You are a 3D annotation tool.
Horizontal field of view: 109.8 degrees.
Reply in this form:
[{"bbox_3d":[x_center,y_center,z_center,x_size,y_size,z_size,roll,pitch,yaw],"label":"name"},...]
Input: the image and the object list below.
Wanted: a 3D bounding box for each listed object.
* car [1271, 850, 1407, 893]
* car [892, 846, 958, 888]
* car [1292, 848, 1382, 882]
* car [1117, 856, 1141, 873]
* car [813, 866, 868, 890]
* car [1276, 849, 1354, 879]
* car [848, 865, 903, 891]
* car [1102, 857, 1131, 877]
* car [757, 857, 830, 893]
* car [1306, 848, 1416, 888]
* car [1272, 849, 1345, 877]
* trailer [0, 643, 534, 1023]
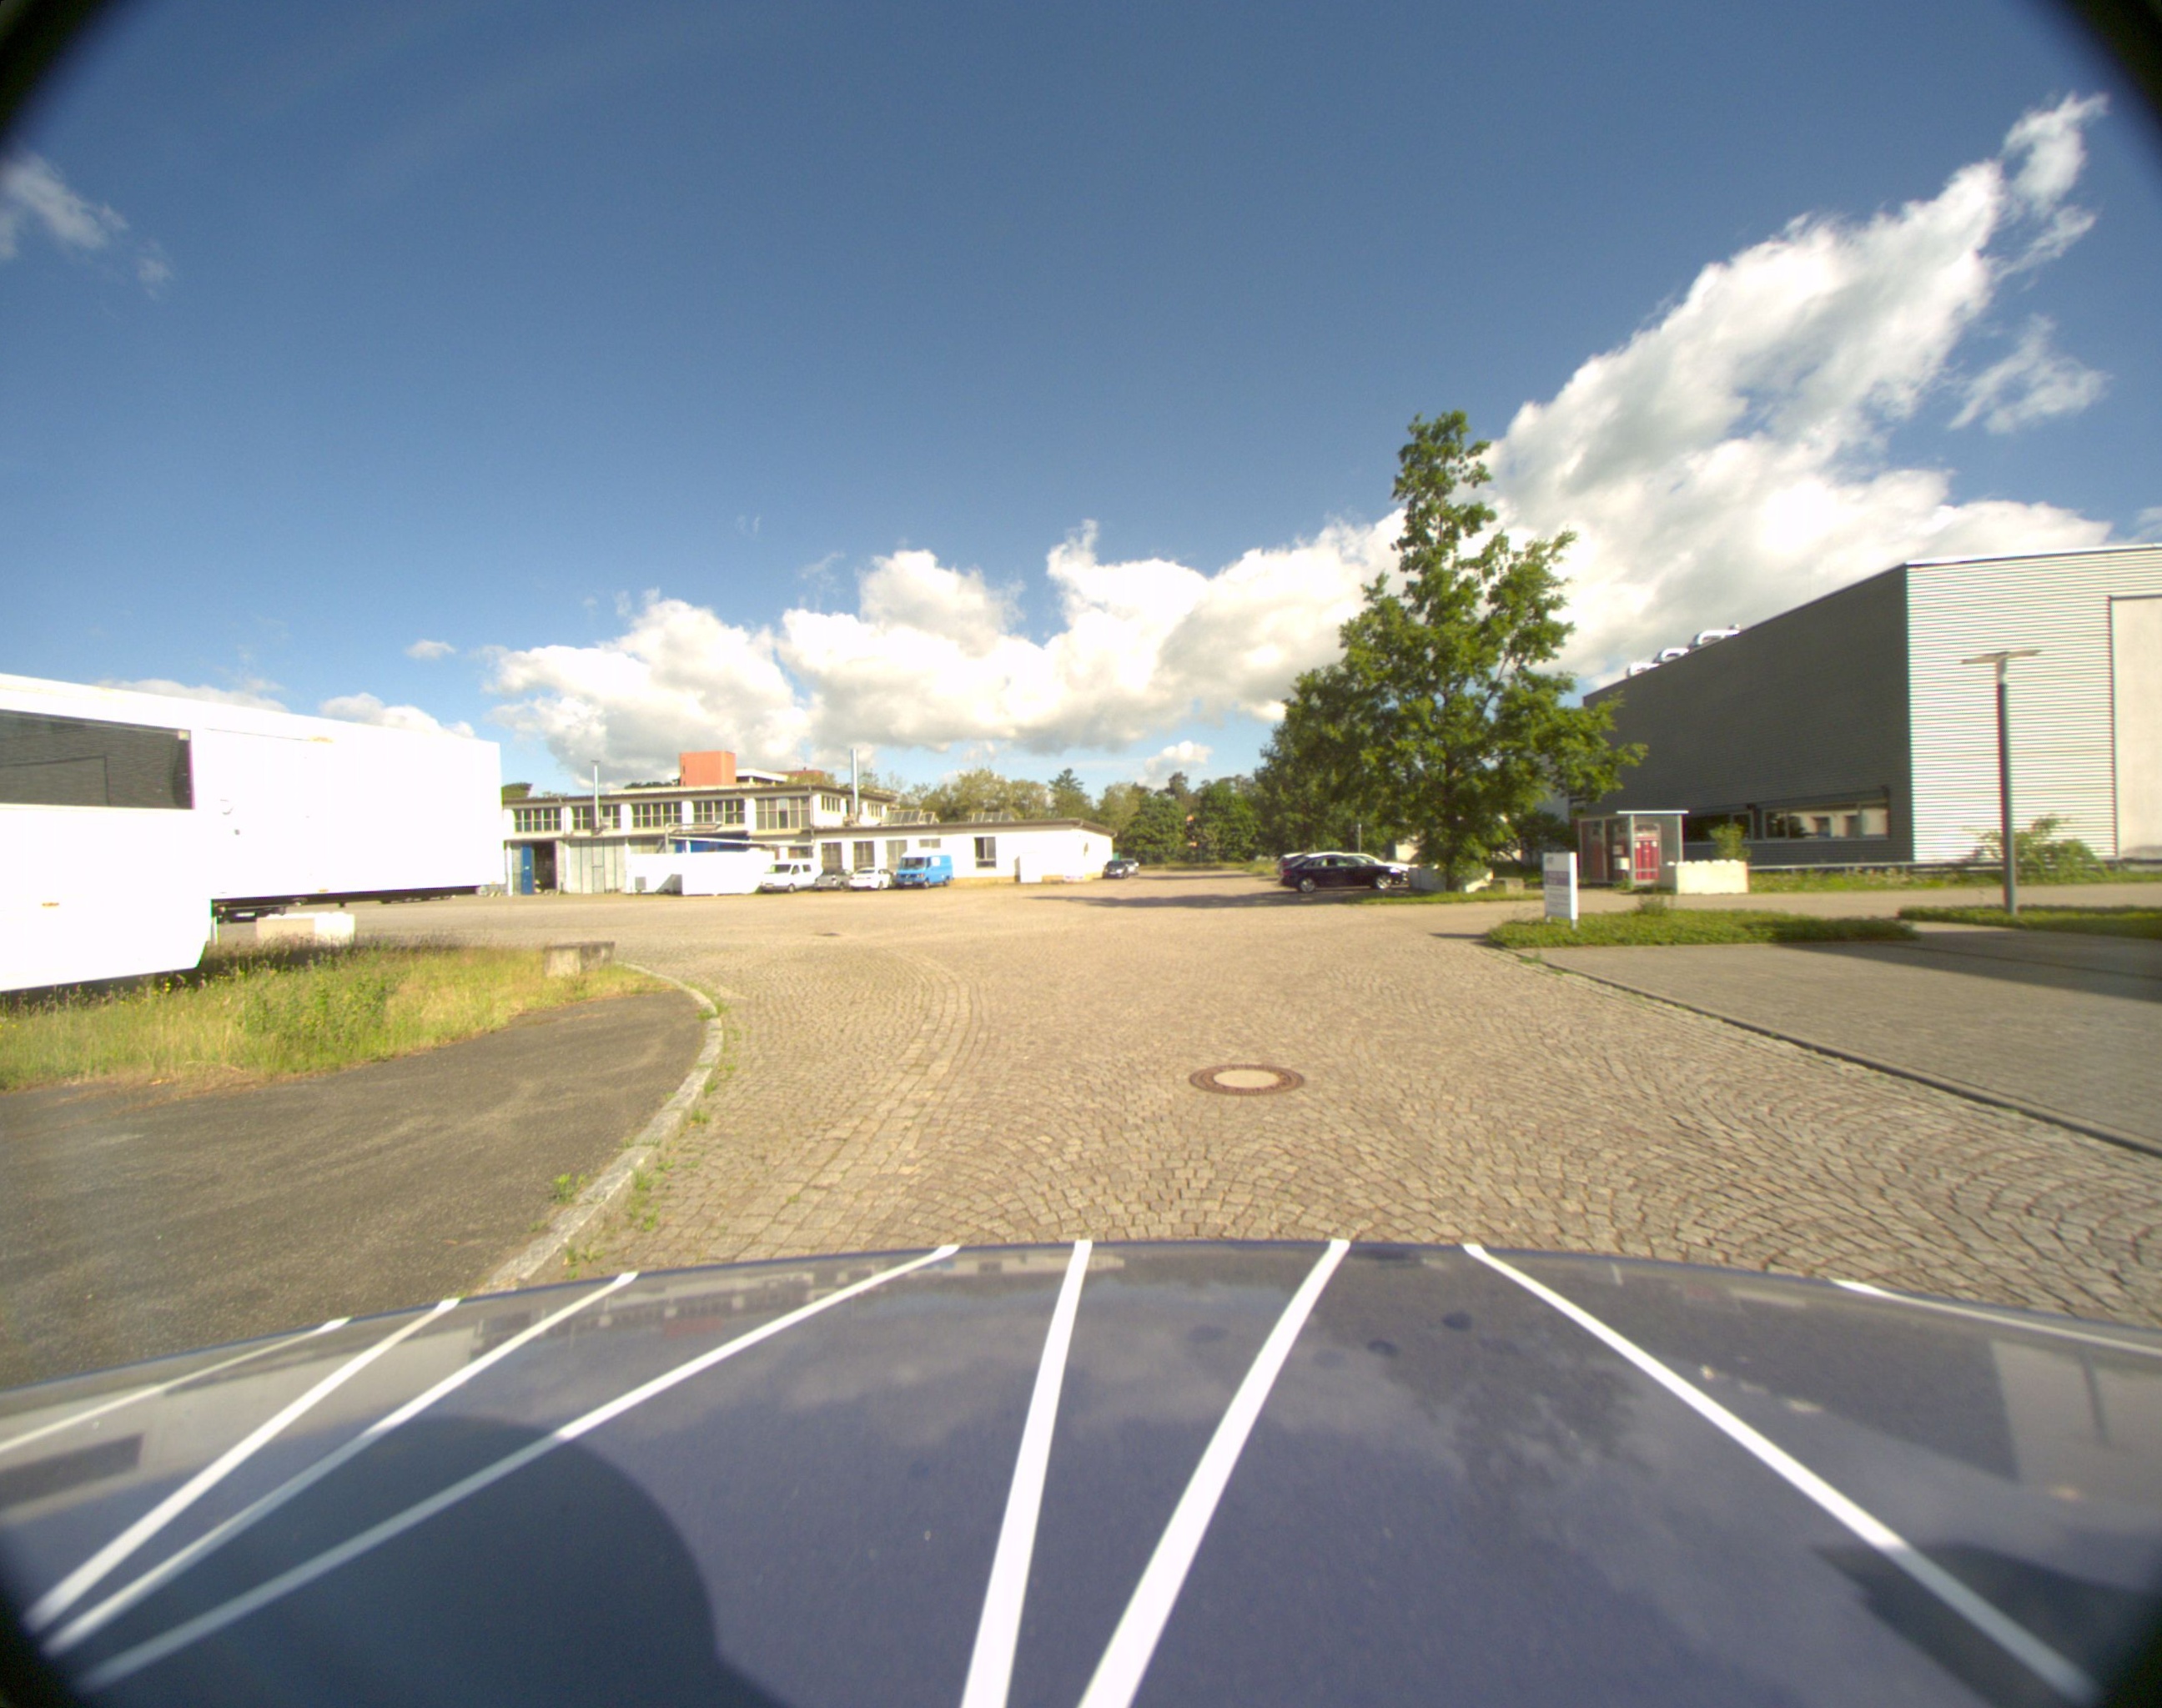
[{"bbox_3d":[10.055,0.679,29.918,4.728,1.414,1.758,-3,0,8],"label":"car"},{"bbox_3d":[-9.759,0.791,48.033,2.086,2.468,5.243,-2,0,12],"label":"car"},{"bbox_3d":[12.591,0.521,37.591,3.919,1.438,1.757,-3,0,9],"label":"car"},{"bbox_3d":[4.320,0.945,68.284,1.690,1.427,3.990,-1,0,9],"label":"car"},{"bbox_3d":[-15.381,1.518,48.749,1.689,1.390,3.835,-1,0,11],"label":"car"},{"bbox_3d":[13.064,0.550,42.558,3.919,1.409,1.694,-3,0,9],"label":"car"},{"bbox_3d":[-12.757,1.467,47.378,1.735,1.397,3.741,-2,1,11],"label":"car"},{"bbox_3d":[2.747,0.982,58.086,1.766,1.427,3.995,-1,0,9],"label":"car"},{"bbox_3d":[-18.300,1.295,48.623,2.006,2.069,4.808,-2,1,12],"label":"car"},{"bbox_3d":[11.826,0.593,32.350,4.144,1.451,1.693,-3,0,14],"label":"car"},{"bbox_3d":[13.480,0.526,45.181,3.919,1.427,1.797,-3,0,9],"label":"car"},{"bbox_3d":[-12.281,-0.178,8.550,2.777,3.888,10.895,-2,0,11],"label":"trailer"}]
